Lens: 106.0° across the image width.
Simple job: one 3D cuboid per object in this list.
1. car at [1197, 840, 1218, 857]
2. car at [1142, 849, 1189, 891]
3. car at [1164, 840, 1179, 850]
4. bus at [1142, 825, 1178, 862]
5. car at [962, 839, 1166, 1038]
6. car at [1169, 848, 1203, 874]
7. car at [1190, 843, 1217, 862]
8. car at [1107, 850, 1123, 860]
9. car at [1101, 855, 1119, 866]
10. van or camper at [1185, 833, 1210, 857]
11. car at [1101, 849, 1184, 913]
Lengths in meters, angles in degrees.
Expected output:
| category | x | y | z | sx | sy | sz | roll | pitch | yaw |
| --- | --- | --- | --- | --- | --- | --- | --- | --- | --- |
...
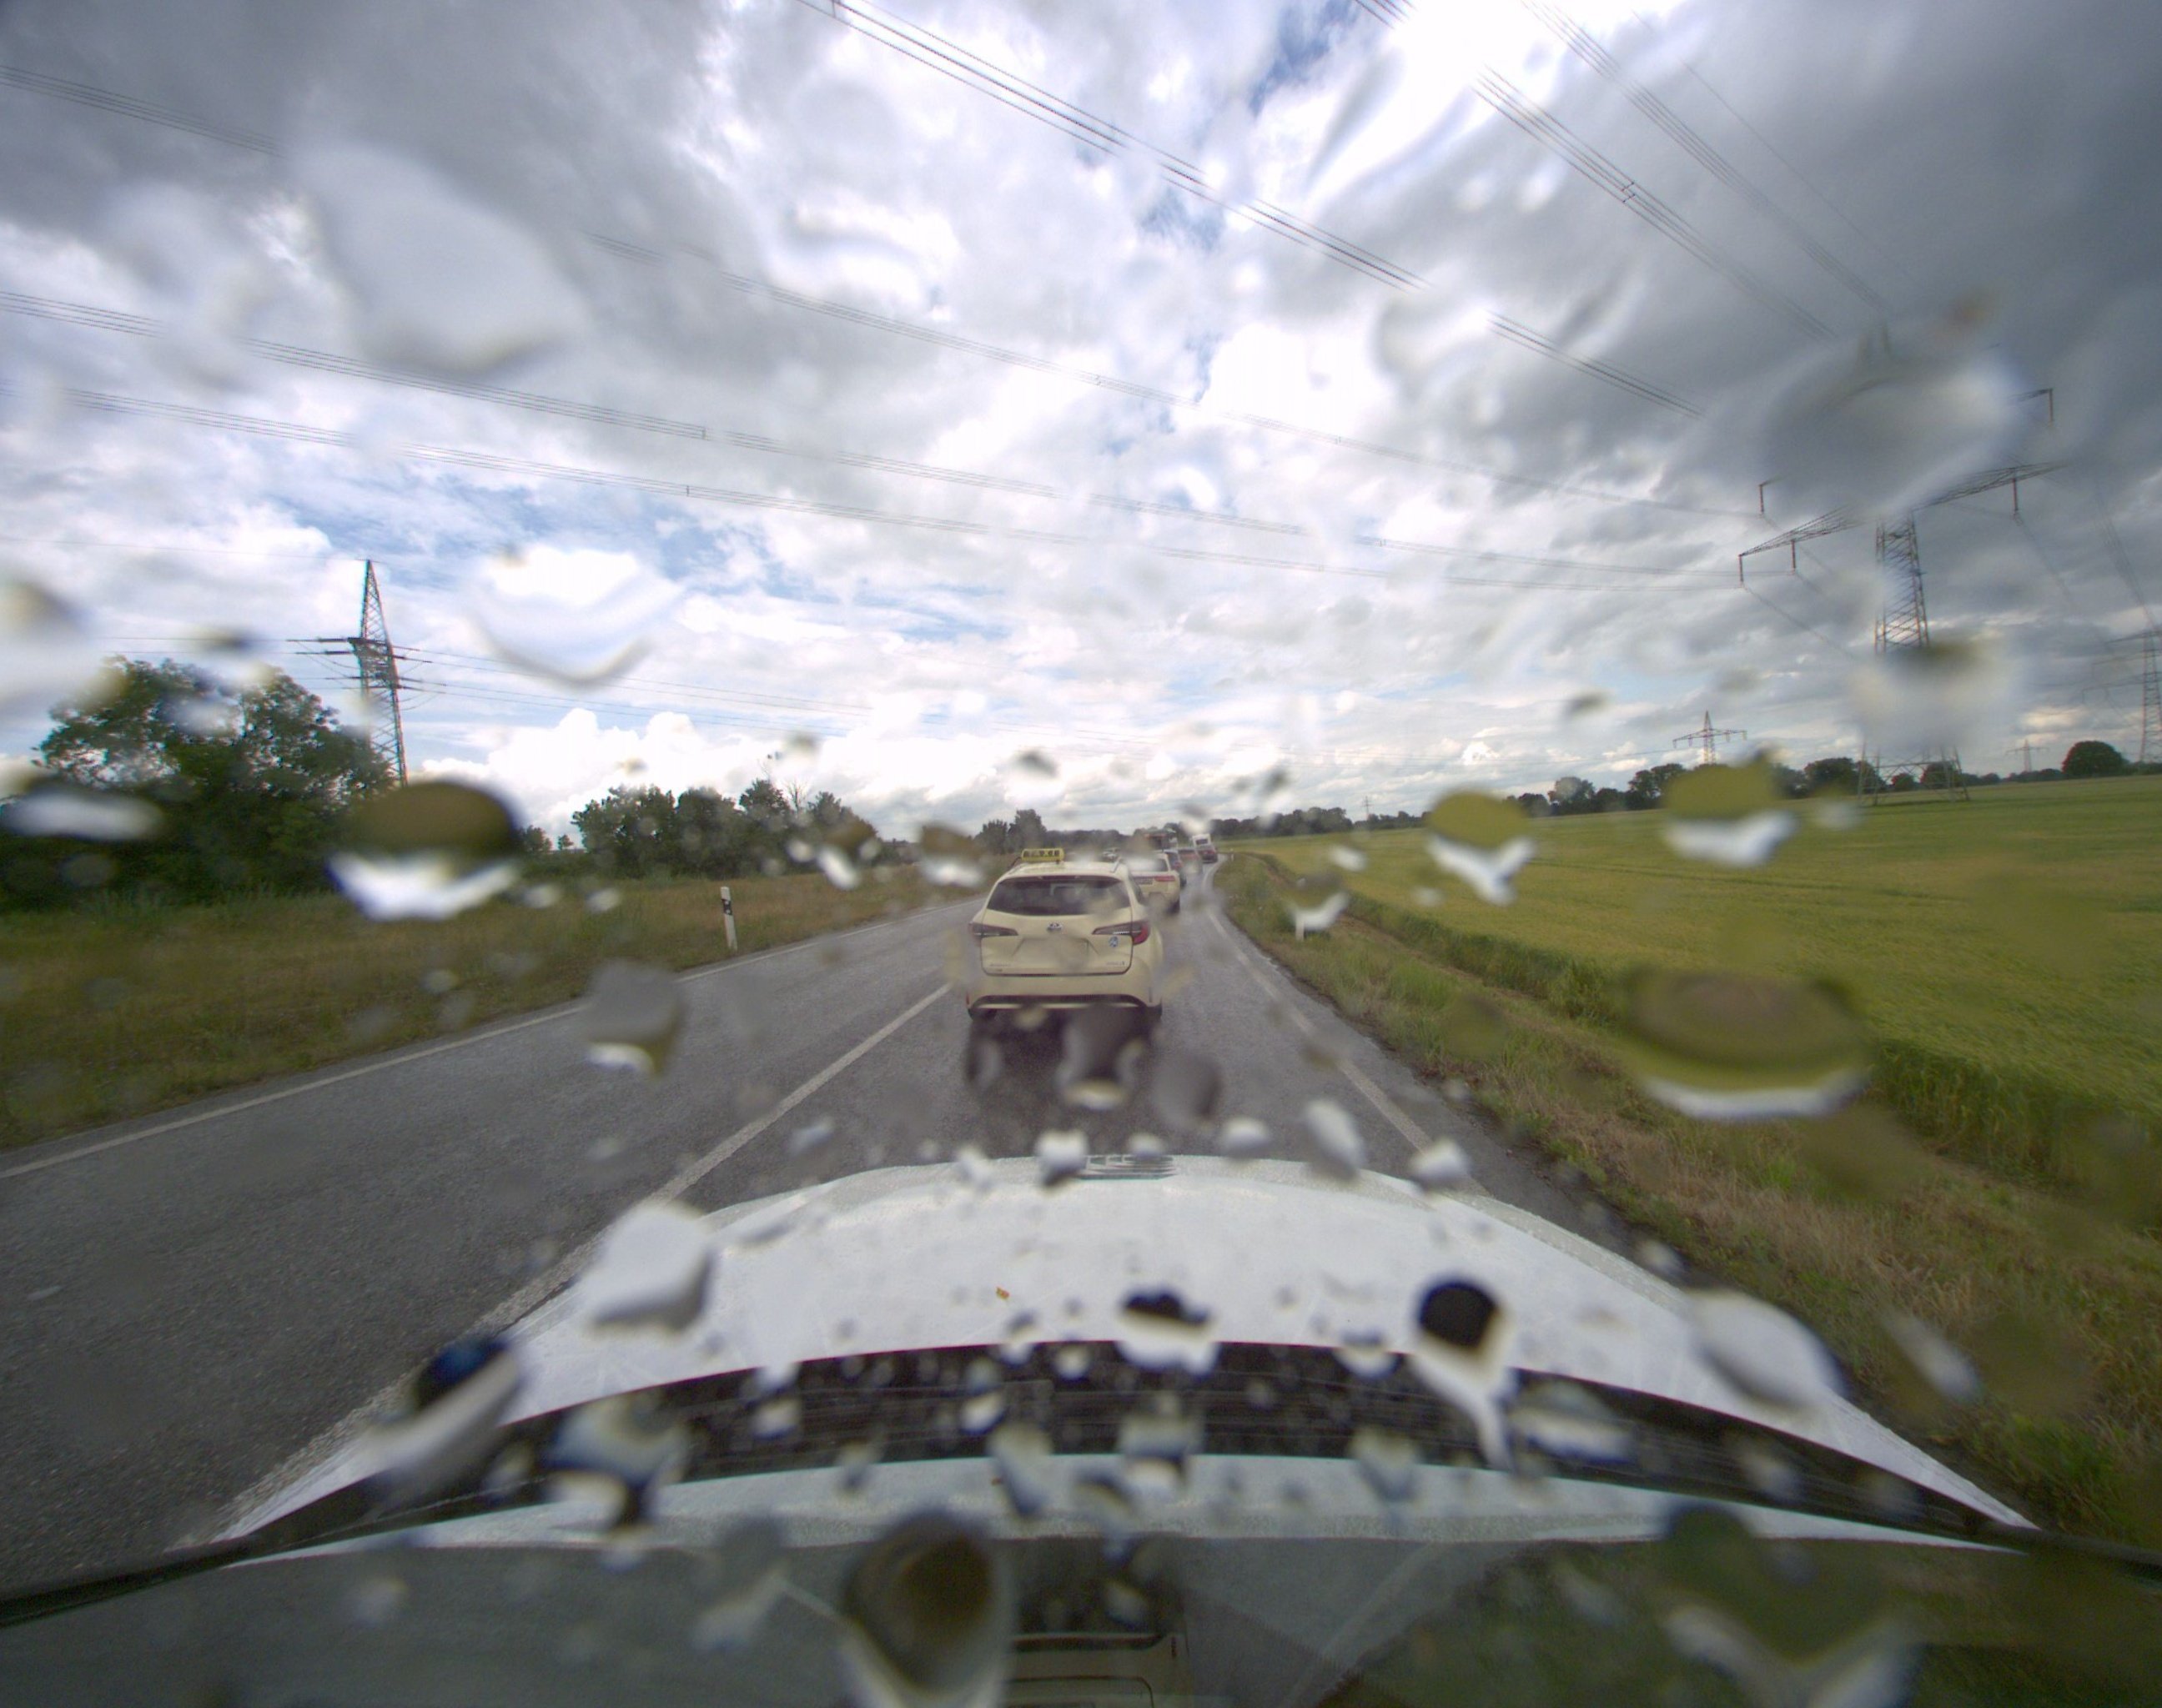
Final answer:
| category | x | y | z | sx | sy | sz | roll | pitch | yaw |
| --- | --- | --- | --- | --- | --- | --- | --- | --- | --- |
| car | 14.012 | -0.589 | 90.364 | 1.951 | 1.729 | 3.743 | -1 | -1 | 5 |
| car | 3.588 | 0.654 | 34.084 | 1.602 | 1.659 | 3.749 | -1 | -1 | 11 |
| car | 11.538 | -1.134 | 104.125 | 1.712 | 1.251 | 4.003 | -1 | -1 | 3 |
| bus | 7.895 | -0.965 | 79.944 | 2.742 | 3.297 | 12.534 | -1 | 0 | 9 |
| car | 0.017 | 0.701 | 8.329 | 1.605 | 1.562 | 3.743 | -1 | -1 | 5 |
| car | 5.933 | 0.392 | 45.912 | 1.602 | 1.413 | 3.750 | -1 | -1 | 12 |
| car | 10.108 | -0.090 | 66.908 | 1.947 | 1.413 | 4.406 | -1 | -1 | 11 |
| car | 6.513 | 0.219 | 156.415 | 1.888 | 1.773 | 4.135 | 0 | -1 | -18 |
| car | 5.245 | 1.145 | 148.743 | 1.999 | 2.014 | 4.352 | 0 | -1 | -18 |
| van or camper | 15.035 | -1.146 | 105.734 | 2.526 | 2.896 | 6.748 | -1 | 0 | 3 |
| car | 1.735 | 0.624 | 21.458 | 1.830 | 1.492 | 4.619 | 0 | 0 | 8 |
